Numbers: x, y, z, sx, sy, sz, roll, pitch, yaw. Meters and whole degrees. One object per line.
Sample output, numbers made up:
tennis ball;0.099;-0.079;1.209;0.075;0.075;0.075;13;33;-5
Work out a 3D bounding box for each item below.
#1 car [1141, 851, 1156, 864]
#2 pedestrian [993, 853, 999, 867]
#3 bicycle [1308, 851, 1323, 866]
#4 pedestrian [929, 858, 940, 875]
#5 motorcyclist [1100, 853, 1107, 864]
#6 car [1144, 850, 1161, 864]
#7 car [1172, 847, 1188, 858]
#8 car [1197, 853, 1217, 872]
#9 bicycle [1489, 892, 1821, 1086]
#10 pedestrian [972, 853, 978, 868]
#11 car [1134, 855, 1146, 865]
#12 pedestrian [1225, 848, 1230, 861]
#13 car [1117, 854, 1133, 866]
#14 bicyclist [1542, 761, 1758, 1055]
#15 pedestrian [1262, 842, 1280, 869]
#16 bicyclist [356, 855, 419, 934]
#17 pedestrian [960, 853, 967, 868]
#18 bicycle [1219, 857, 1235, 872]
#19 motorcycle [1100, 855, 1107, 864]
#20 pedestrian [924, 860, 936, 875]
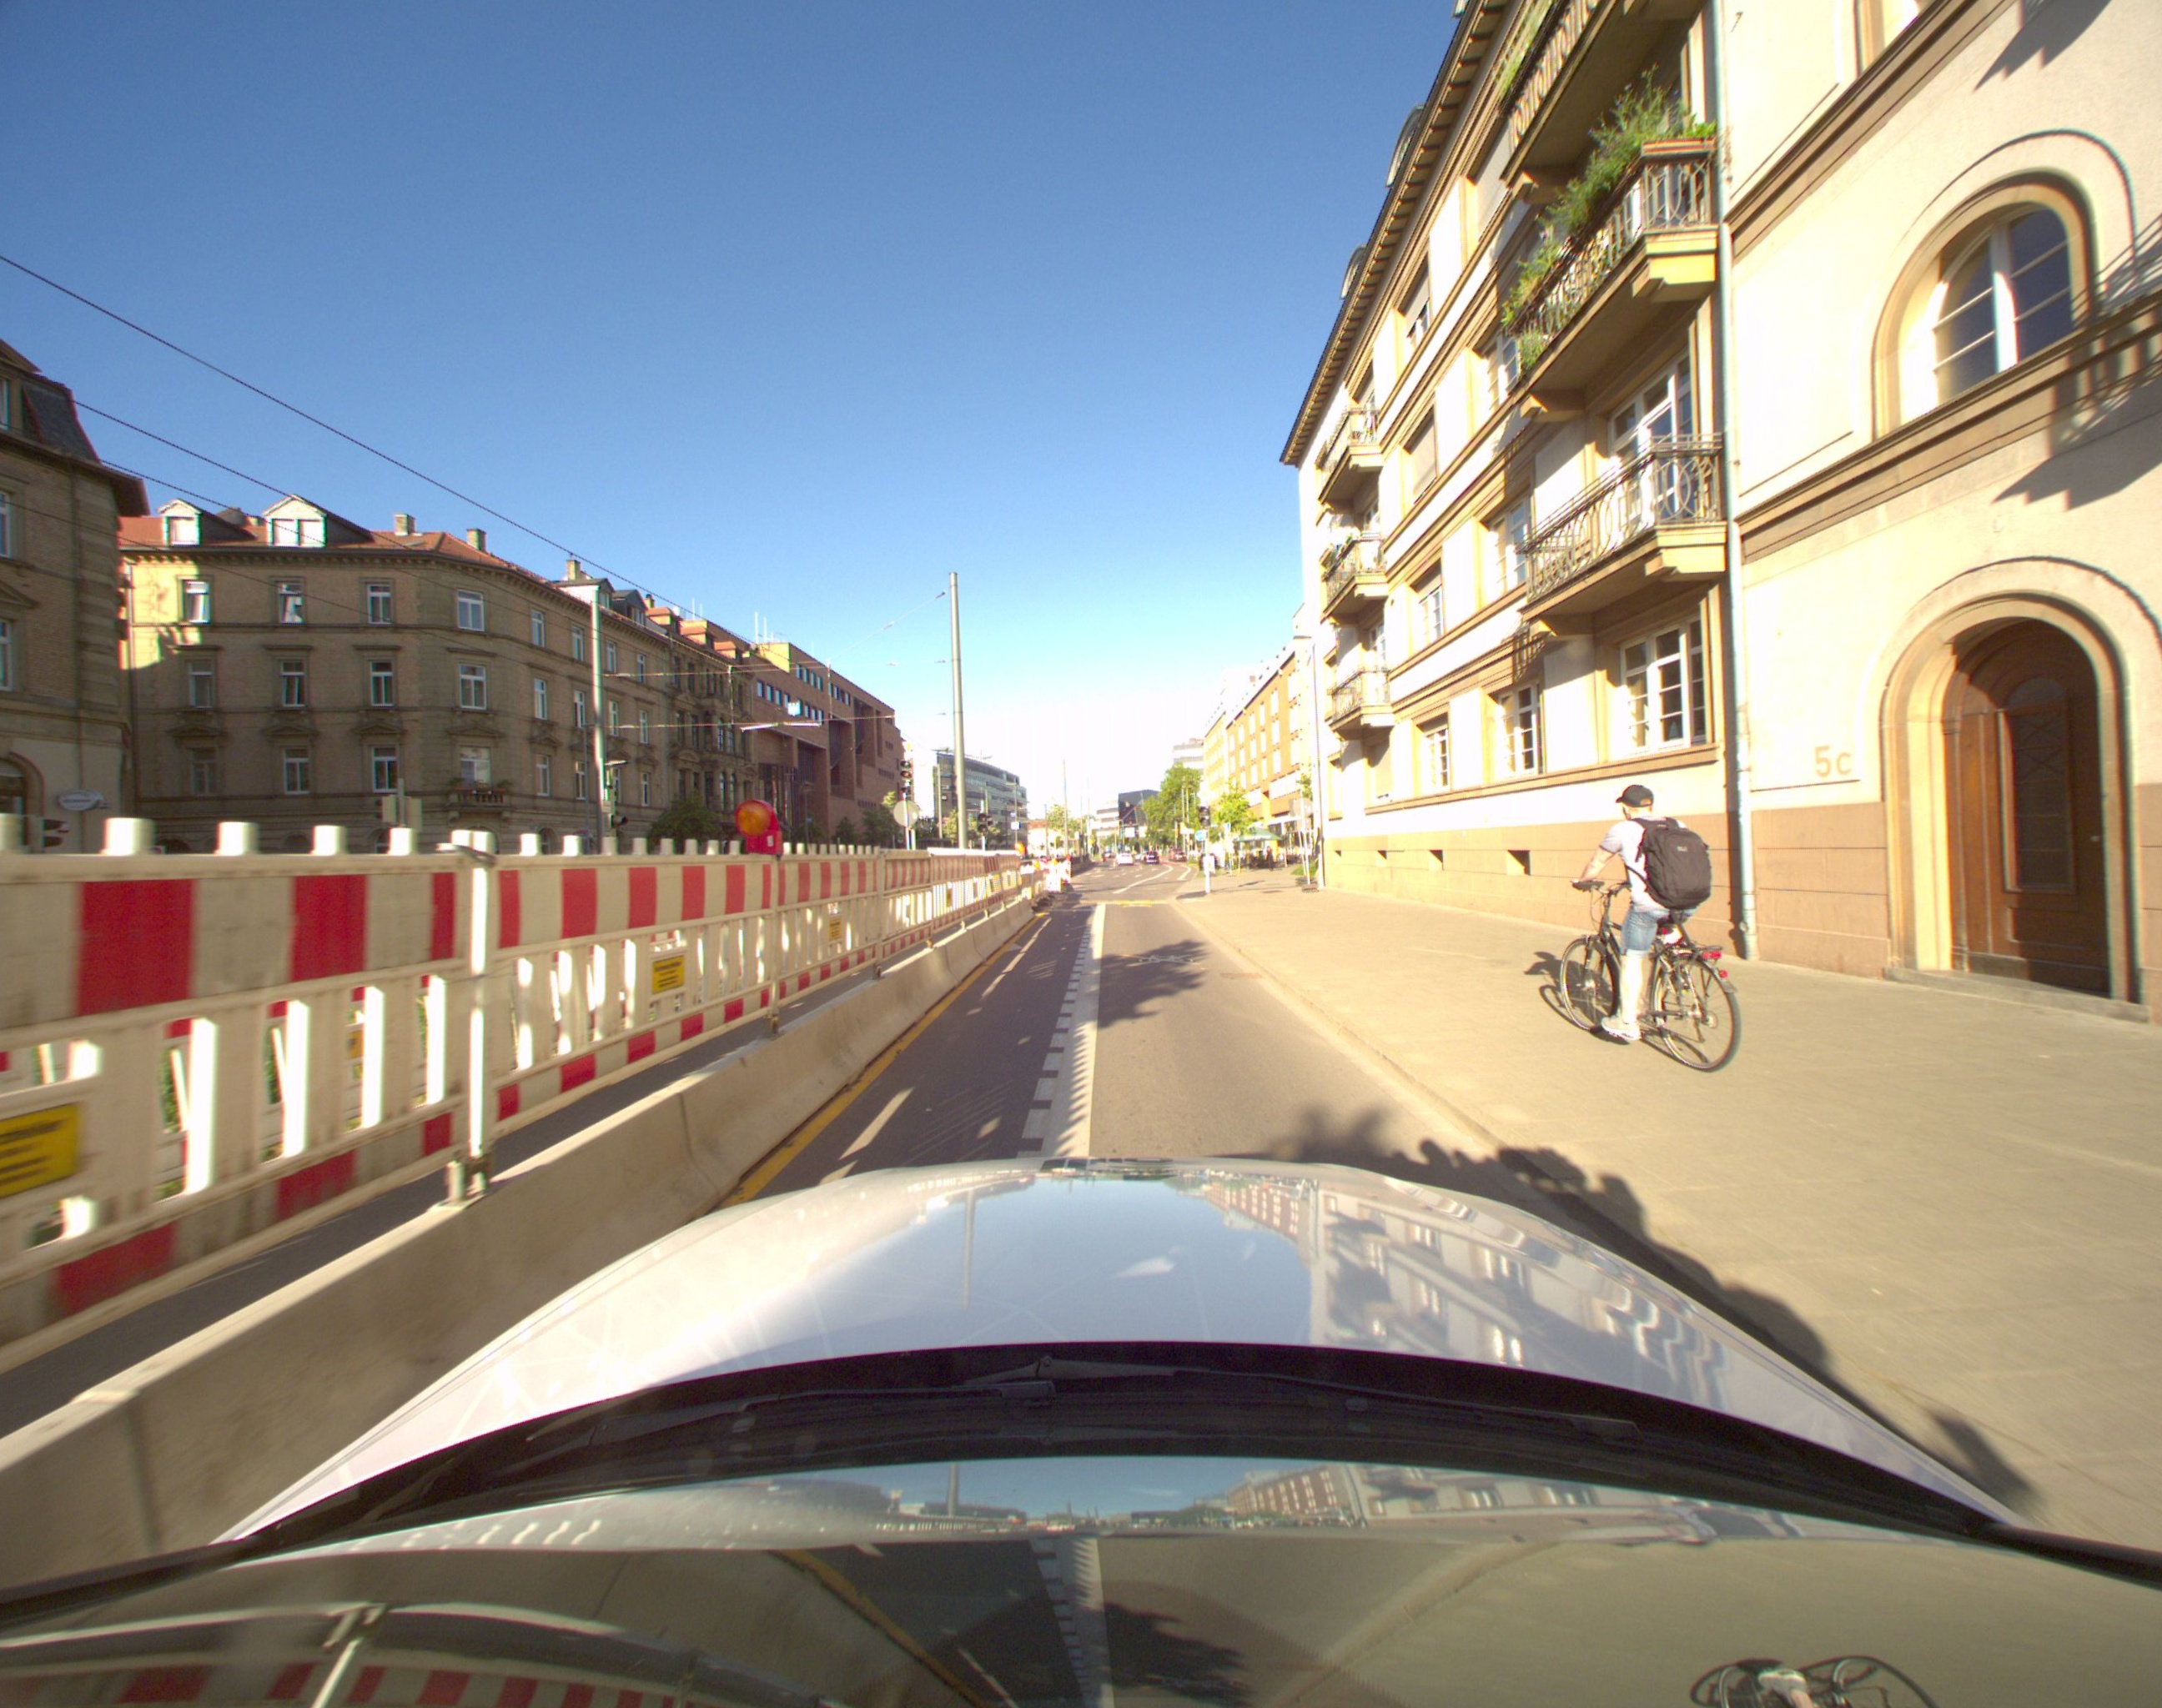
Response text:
car;9.211;0.485;111.722;1.843;1.640;4.381;-1;-1;2
pedestrian;-10.404;0.765;99.623;0.638;1.696;0.541;0;0;2
bicycle;18.495;0.333;64.253;0.612;1.169;1.536;-3;0;-1
pedestrian;-12.122;1.012;67.252;0.643;1.309;0.722;-4;-1;2
motorcyclist;3.465;0.655;124.302;1.015;1.603;1.149;0;0;2
car;9.066;0.340;104.082;1.967;1.759;4.636;0;0;3
car;14.090;-0.224;116.133;1.839;1.560;4.636;0;0;3
car;11.610;0.781;74.853;1.711;1.637;4.241;-3;0;9
bicycle;3.739;0.804;5.625;0.764;0.953;2.199;-2;0;2
pedestrian;-12.018;0.750;92.202;0.620;1.714;0.616;-1;0;2
car;9.332;0.950;128.837;1.843;1.497;4.381;-1;0;2
pedestrian;19.979;0.043;111.245;0.604;1.821;0.749;0;-1;1
car;5.306;0.680;98.536;1.773;1.414;4.821;0;0;2
bicyclist;3.718;0.327;5.415;0.730;1.763;0.938;-2;0;1
pedestrian;12.934;0.099;55.395;0.876;1.763;1.111;-4;-2;24
bicyclist;-16.133;0.919;18.971;0.886;1.774;0.849;-1;-1;-24
pedestrian;-12.073;0.673;83.617;0.537;1.459;0.643;0;0;2
bicycle;11.621;0.826;64.910;0.763;1.081;1.997;-7;-1;-1
motorcycle;3.471;0.829;124.287;1.015;1.312;2.916;0;0;3
pedestrian;-12.105;1.086;65.210;0.718;1.168;0.722;-4;0;2
